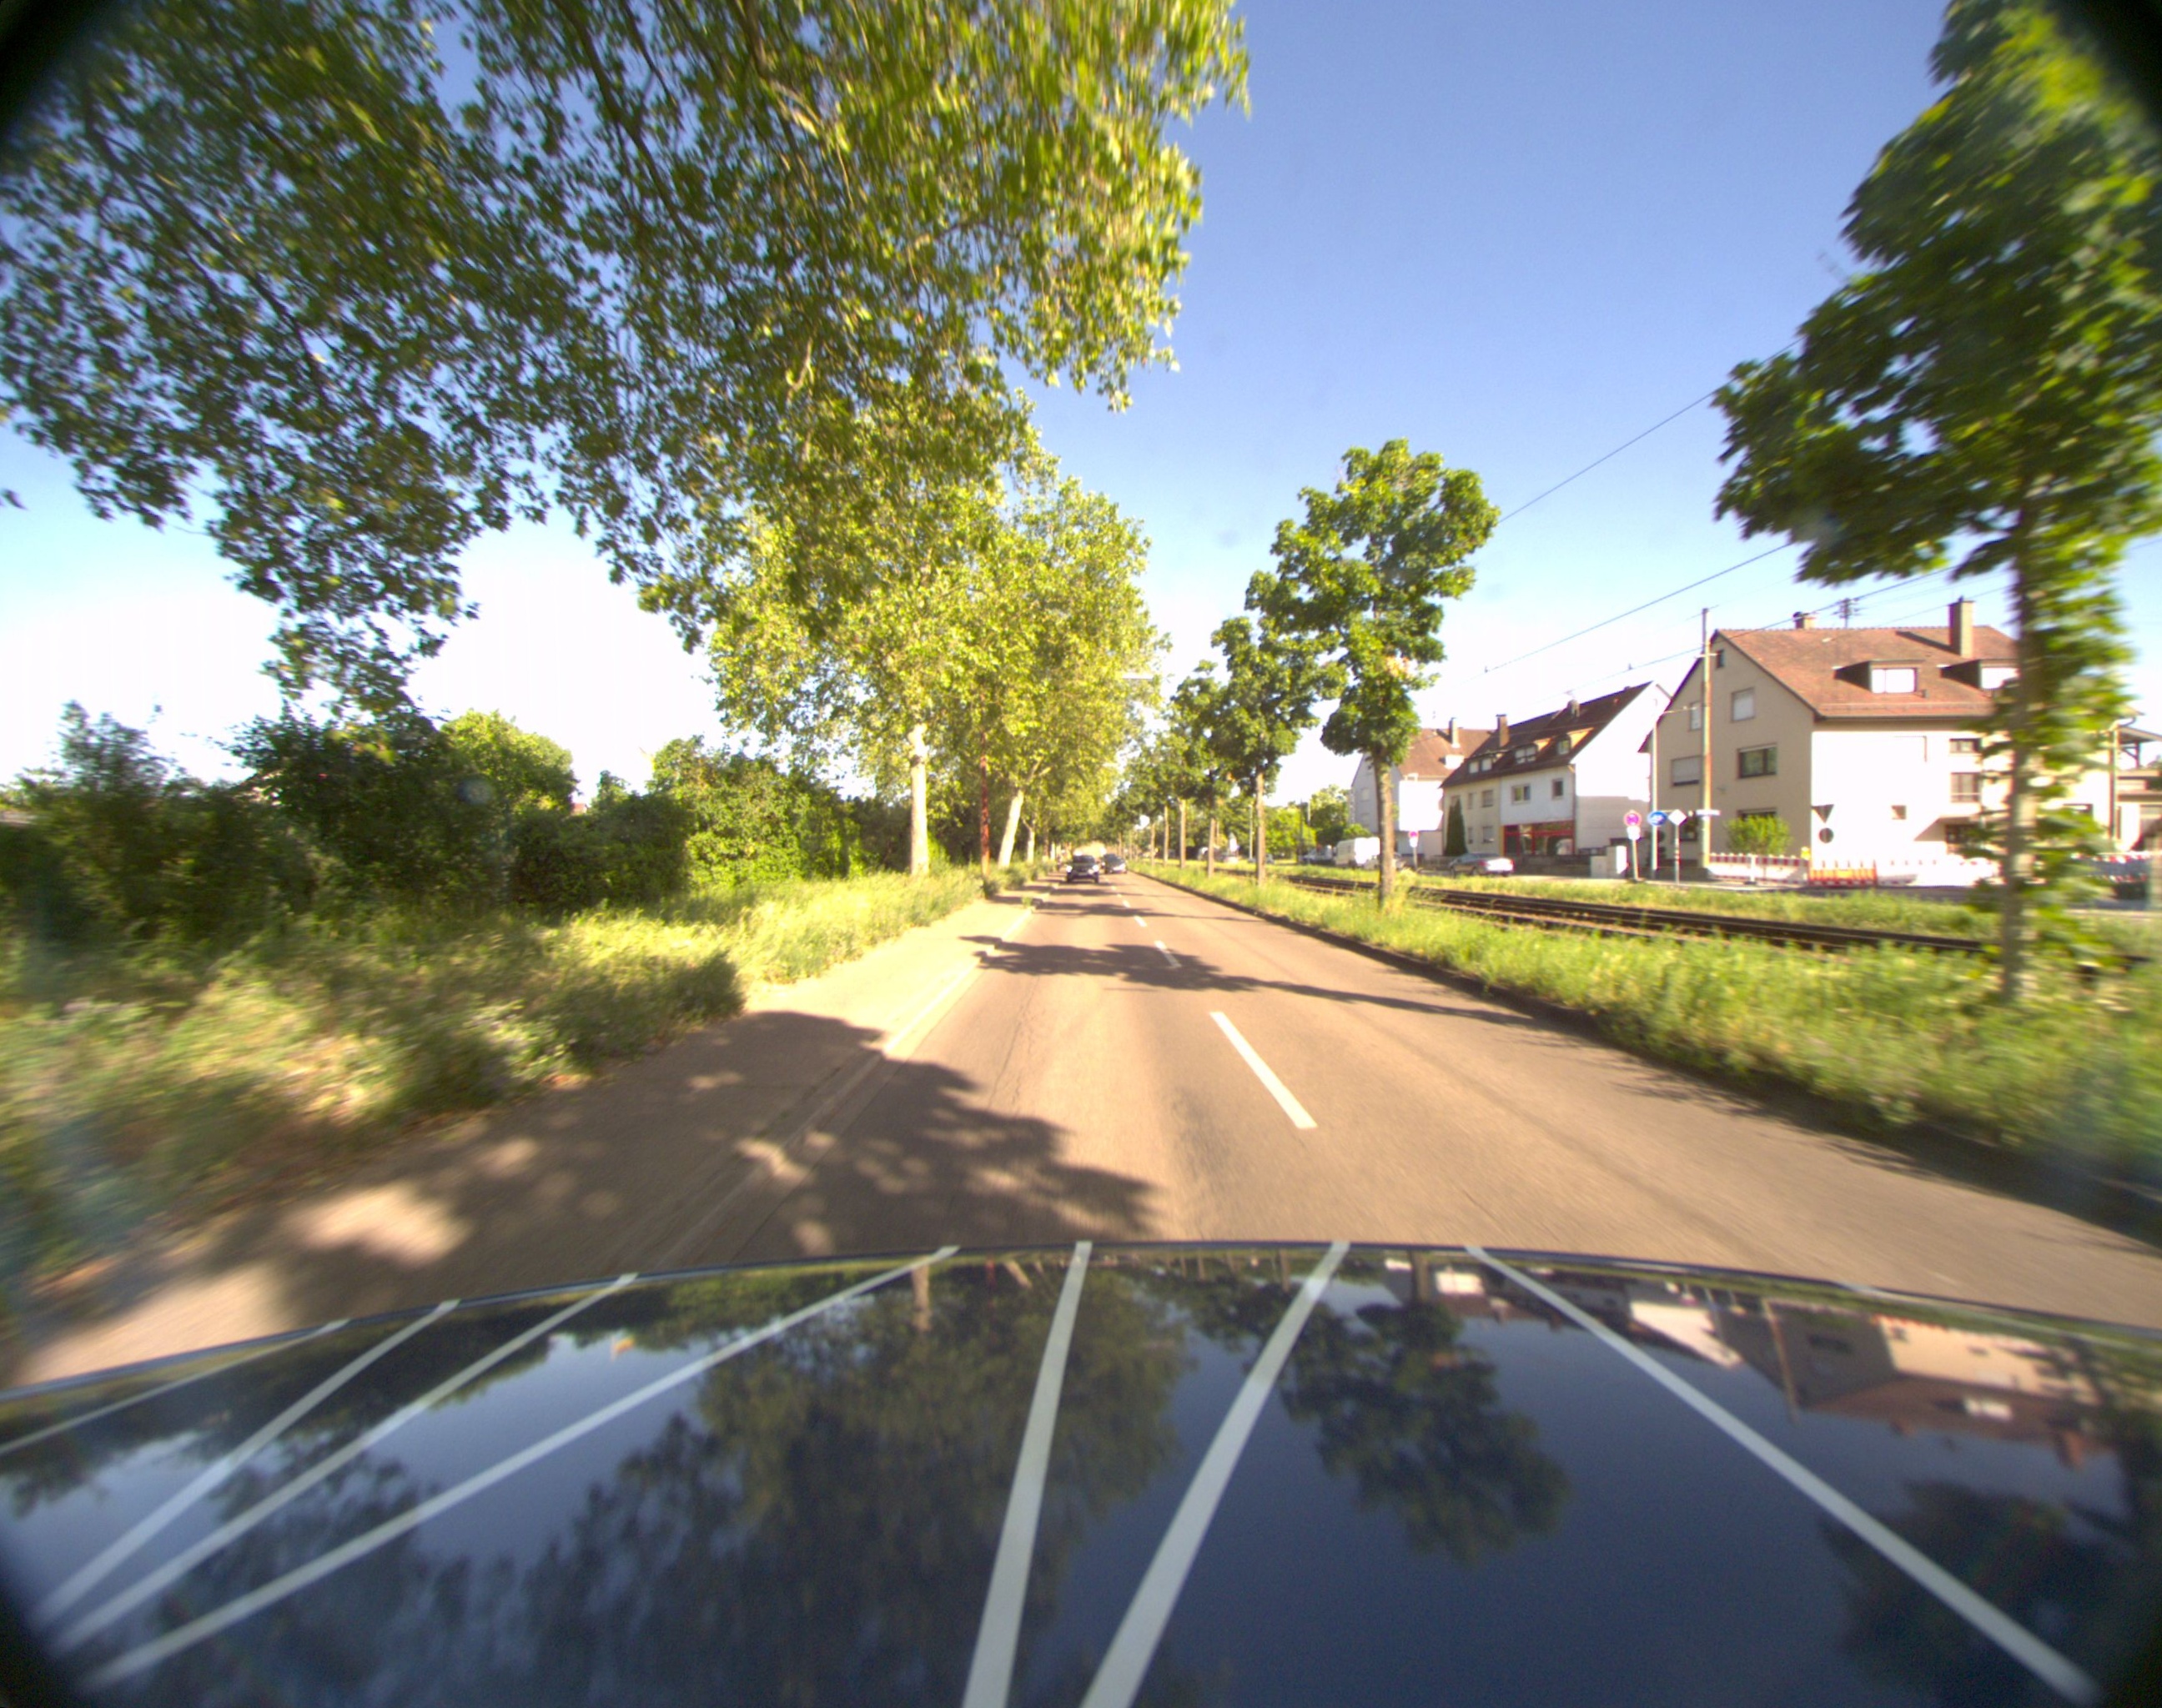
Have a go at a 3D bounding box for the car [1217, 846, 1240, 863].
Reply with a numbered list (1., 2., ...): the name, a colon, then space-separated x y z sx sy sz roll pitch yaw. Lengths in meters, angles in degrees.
1. car: 17.515 0.085 90.365 1.920 1.872 4.523 -2 1 2

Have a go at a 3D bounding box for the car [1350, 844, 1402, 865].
1. car: 28.033 0.033 72.236 4.151 1.941 1.998 -1 1 -10

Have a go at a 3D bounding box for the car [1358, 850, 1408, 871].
1. car: 22.024 0.438 55.576 1.829 1.404 4.657 -2 1 0

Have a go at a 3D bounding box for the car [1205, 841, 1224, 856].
1. car: 23.282 -0.957 132.643 2.188 2.362 6.464 -2 1 1

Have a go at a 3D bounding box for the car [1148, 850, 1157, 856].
1. car: 17.563 -0.271 186.622 1.680 1.401 4.000 -1 0 1

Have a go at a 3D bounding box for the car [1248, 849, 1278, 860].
1. car: 23.964 0.070 99.914 3.618 1.469 1.752 -1 1 19

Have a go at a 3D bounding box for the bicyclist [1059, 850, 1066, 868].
1. bicyclist: -1.625 0.448 67.015 0.615 1.619 0.909 -1 1 1

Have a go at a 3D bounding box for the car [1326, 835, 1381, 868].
1. car: 21.952 -0.241 61.486 1.998 2.445 6.673 -2 1 0

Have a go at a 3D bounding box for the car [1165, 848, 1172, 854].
1. car: 24.154 -0.889 210.291 1.772 1.554 4.282 -1 1 3

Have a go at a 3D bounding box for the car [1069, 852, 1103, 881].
1. car: 0.299 0.678 43.344 1.808 1.478 3.546 -2 1 0

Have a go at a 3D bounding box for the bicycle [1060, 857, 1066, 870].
1. bicycle: -1.621 0.846 67.019 0.441 1.146 1.823 -1 0 1

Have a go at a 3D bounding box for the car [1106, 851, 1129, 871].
1. car: 2.932 0.514 61.450 1.714 1.478 3.546 -2 1 2

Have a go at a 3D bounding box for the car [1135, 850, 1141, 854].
1. car: 19.597 -0.745 261.947 1.998 1.522 3.751 -1 0 2

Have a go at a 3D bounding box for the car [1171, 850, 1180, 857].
1. car: 23.685 -0.203 190.586 1.626 1.613 4.532 -2 1 0

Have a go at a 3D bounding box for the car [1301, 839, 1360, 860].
1. car: 33.143 -0.552 101.081 7.086 2.493 2.329 -2 0 -4

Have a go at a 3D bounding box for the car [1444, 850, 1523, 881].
1. car: 21.917 0.592 41.598 1.998 1.572 4.498 -2 0 1

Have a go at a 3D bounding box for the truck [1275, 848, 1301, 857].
1. truck: 44.695 -0.332 164.110 4.946 1.858 2.080 -2 1 -19

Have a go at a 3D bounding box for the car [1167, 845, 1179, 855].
1. car: 23.948 -1.019 197.937 2.231 2.565 6.799 -2 0 1
